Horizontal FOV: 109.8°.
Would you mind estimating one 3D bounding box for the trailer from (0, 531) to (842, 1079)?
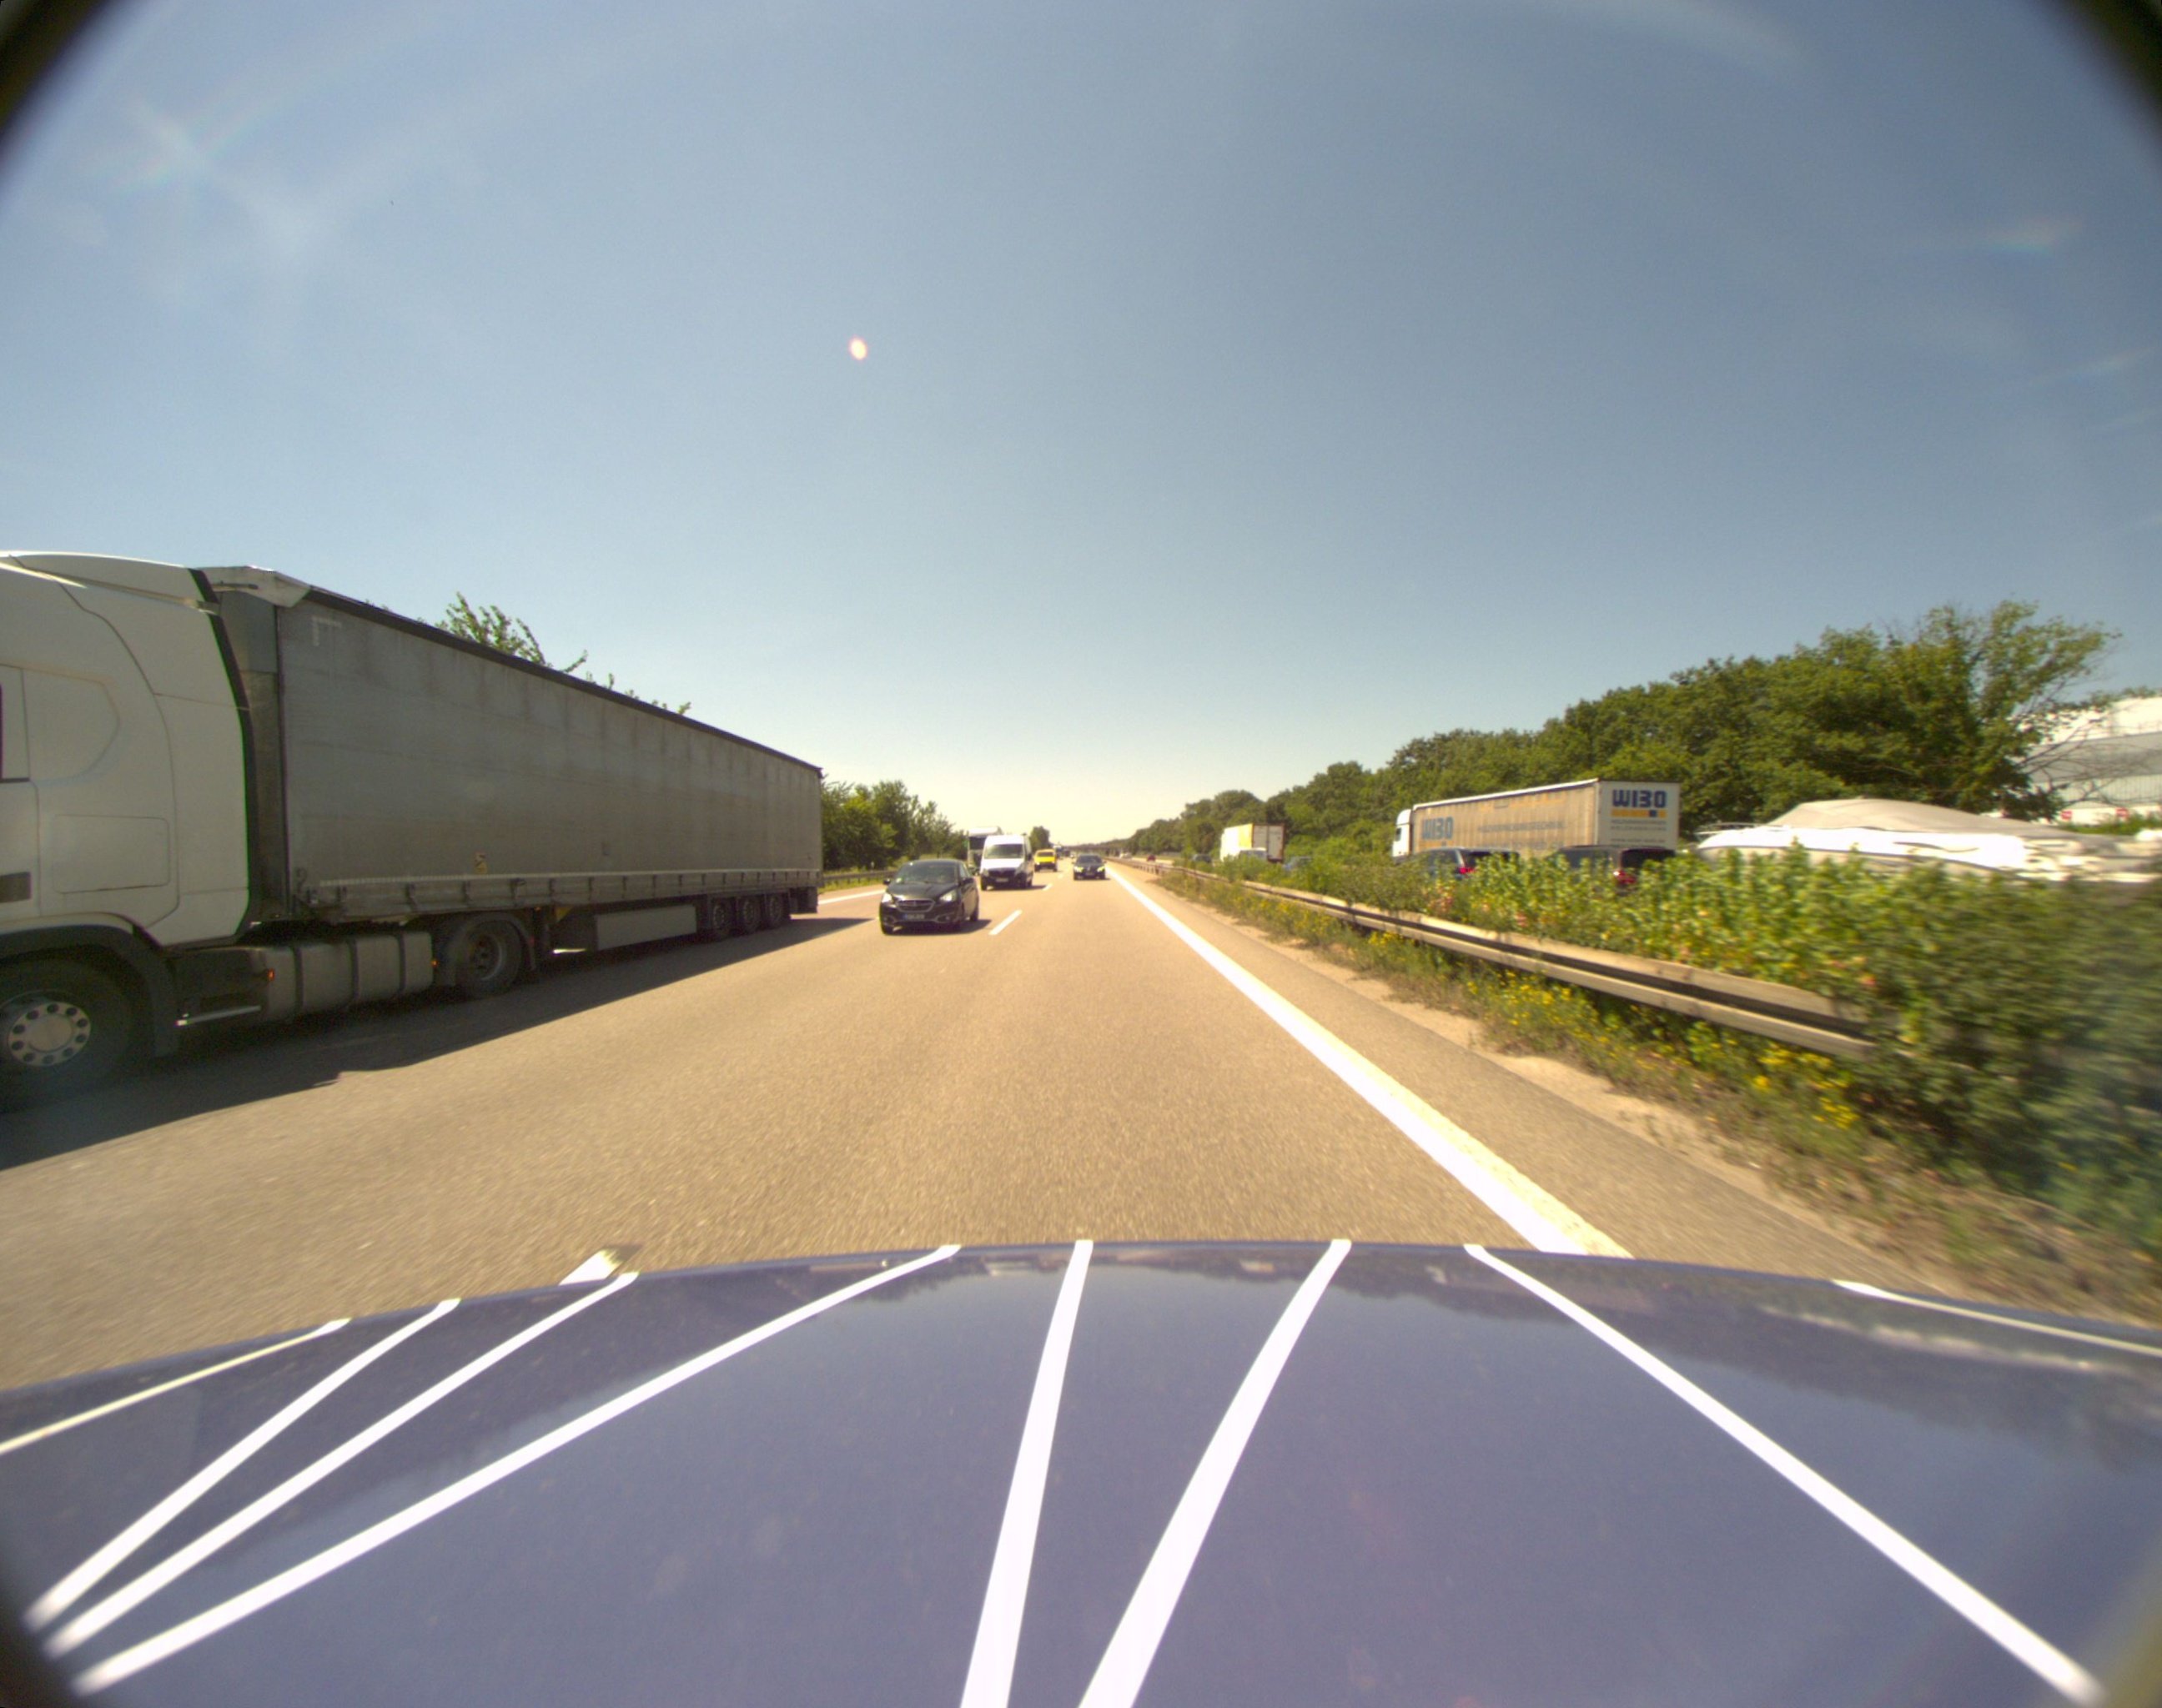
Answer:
[{"bbox_3d":[-8.067,-0.417,13.162,2.816,4.279,14.254,-2,1,2],"label":"trailer"}]

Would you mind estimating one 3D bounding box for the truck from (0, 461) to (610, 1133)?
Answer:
[{"bbox_3d":[-8.216,-0.360,7.101,2.817,4.279,7.193,-2,1,2],"label":"truck"}]

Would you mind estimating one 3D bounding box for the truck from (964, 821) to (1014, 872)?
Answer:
[{"bbox_3d":[-7.531,-0.601,63.283,2.699,3.943,7.704,-2,0,3],"label":"truck"}]

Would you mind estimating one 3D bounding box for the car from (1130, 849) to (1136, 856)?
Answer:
[{"bbox_3d":[16.536,-0.464,242.304,1.793,2.002,4.379,2,1,1],"label":"car"}]

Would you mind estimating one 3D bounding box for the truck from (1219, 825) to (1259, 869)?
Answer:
[{"bbox_3d":[15.375,-0.678,74.446,2.746,4.061,6.217,1,1,2],"label":"truck"}]

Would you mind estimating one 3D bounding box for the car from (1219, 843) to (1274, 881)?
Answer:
[{"bbox_3d":[9.664,0.423,44.868,1.998,2.019,5.490,-2,1,0],"label":"car"}]

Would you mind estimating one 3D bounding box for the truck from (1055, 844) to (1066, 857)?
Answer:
[{"bbox_3d":[-5.917,-1.069,215.524,2.976,3.626,7.148,-2,1,-2],"label":"truck"}]

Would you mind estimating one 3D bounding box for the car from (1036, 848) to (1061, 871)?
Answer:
[{"bbox_3d":[-2.883,0.440,67.339,1.958,1.939,3.999,-2,1,0],"label":"car"}]

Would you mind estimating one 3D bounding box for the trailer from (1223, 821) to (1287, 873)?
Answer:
[{"bbox_3d":[15.124,-0.629,67.439,2.746,4.061,14.347,1,0,2],"label":"trailer"}]

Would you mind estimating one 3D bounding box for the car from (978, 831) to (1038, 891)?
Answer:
[{"bbox_3d":[-3.289,0.283,35.601,2.159,2.494,5.945,-2,1,0],"label":"car"}]

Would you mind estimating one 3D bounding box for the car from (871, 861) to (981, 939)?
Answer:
[{"bbox_3d":[-3.253,0.916,16.587,1.692,1.465,3.432,-1,0,-1],"label":"car"}]

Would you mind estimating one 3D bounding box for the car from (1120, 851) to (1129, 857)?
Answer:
[{"bbox_3d":[11.047,-0.069,192.150,1.724,1.414,3.896,1,1,-3],"label":"car"}]

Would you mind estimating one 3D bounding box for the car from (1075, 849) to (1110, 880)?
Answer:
[{"bbox_3d":[0.713,0.566,44.107,1.689,1.646,3.463,-2,1,5],"label":"car"}]

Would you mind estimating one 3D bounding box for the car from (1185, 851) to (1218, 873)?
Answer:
[{"bbox_3d":[10.214,0.655,64.830,1.964,1.684,4.801,-2,1,-1],"label":"car"}]

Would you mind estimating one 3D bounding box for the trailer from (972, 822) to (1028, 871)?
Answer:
[{"bbox_3d":[-7.180,-0.635,69.361,2.699,3.943,13.963,-2,0,3],"label":"trailer"}]

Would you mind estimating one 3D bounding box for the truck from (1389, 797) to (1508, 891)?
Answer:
[{"bbox_3d":[17.594,-0.479,36.885,2.764,4.079,6.151,2,1,1],"label":"truck"}]

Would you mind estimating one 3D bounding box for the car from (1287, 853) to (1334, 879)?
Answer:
[{"bbox_3d":[13.707,0.698,45.578,1.576,1.378,3.967,2,1,0],"label":"car"}]

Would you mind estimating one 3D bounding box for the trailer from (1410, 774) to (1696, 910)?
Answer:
[{"bbox_3d":[17.474,-0.426,30.259,2.764,4.079,14.052,2,1,1],"label":"trailer"}]

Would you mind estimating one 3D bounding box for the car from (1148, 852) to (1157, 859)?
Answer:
[{"bbox_3d":[15.341,0.237,162.716,1.776,1.409,4.111,1,0,3],"label":"car"}]
